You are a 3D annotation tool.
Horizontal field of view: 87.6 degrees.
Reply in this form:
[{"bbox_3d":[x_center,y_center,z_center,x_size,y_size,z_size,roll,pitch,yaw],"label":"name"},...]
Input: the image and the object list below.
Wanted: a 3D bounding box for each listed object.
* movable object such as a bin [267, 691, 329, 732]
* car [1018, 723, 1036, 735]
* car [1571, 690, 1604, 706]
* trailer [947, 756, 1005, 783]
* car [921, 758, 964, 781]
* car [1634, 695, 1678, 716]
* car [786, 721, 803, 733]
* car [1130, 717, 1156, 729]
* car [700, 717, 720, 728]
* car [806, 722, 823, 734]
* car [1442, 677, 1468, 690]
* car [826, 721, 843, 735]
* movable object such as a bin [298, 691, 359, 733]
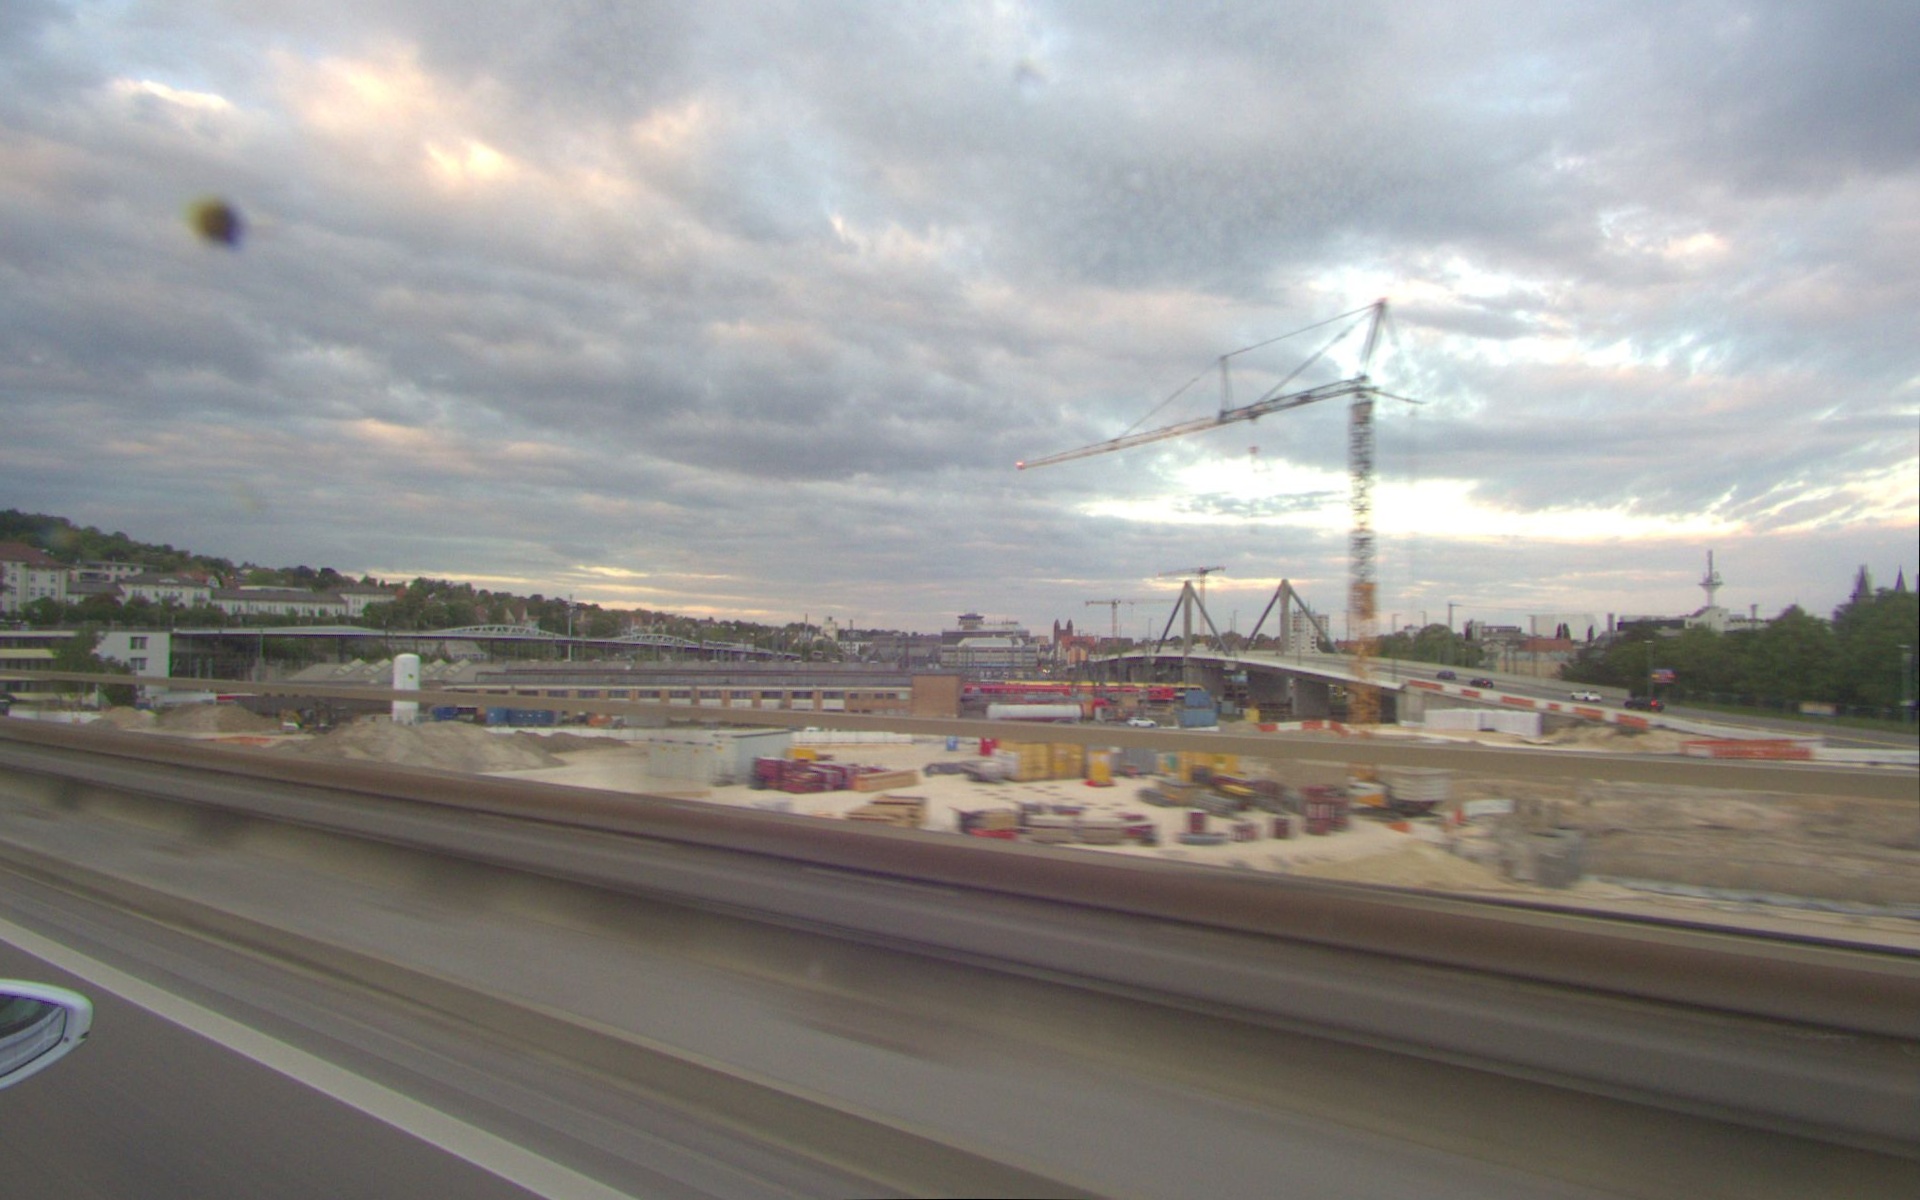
[{"bbox_3d":[-75.939,12.836,114.977,2.733,4.356,4.965,2,-7,15],"label":"movable object such as a bin"},{"bbox_3d":[9.439,18.119,140.869,1.835,1.539,4.348,1,-4,-6],"label":"car"},{"bbox_3d":[80.753,12.631,128.936,1.565,1.760,3.706,5,-2,-5],"label":"car"},{"bbox_3d":[1.007,11.118,66.017,1.761,1.256,4.229,4,-4,-32],"label":"trailer"},{"bbox_3d":[-1.336,12.763,75.483,1.510,1.457,3.779,8,-8,-31],"label":"car"},{"bbox_3d":[80.816,12.240,116.334,1.962,2.038,4.001,5,-3,-5],"label":"car"},{"bbox_3d":[-23.305,17.905,141.266,1.835,1.435,4.009,4,-7,-2],"label":"car"},{"bbox_3d":[28.459,19.094,155.559,3.619,1.593,1.440,6,-7,-11],"label":"car"},{"bbox_3d":[-35.261,17.269,141.340,1.835,1.435,4.009,4,-7,-2],"label":"car"},{"bbox_3d":[-20.522,18.057,141.369,1.835,1.435,4.009,4,-7,-2],"label":"car"},{"bbox_3d":[77.726,13.118,157.388,1.743,1.761,3.999,3,-1,-6],"label":"car"},{"bbox_3d":[-17.737,18.098,141.541,1.835,1.733,4.009,4,-7,-2],"label":"car"},{"bbox_3d":[-72.034,12.818,114.302,2.733,4.356,4.965,2,-7,15],"label":"movable object such as a bin"}]
